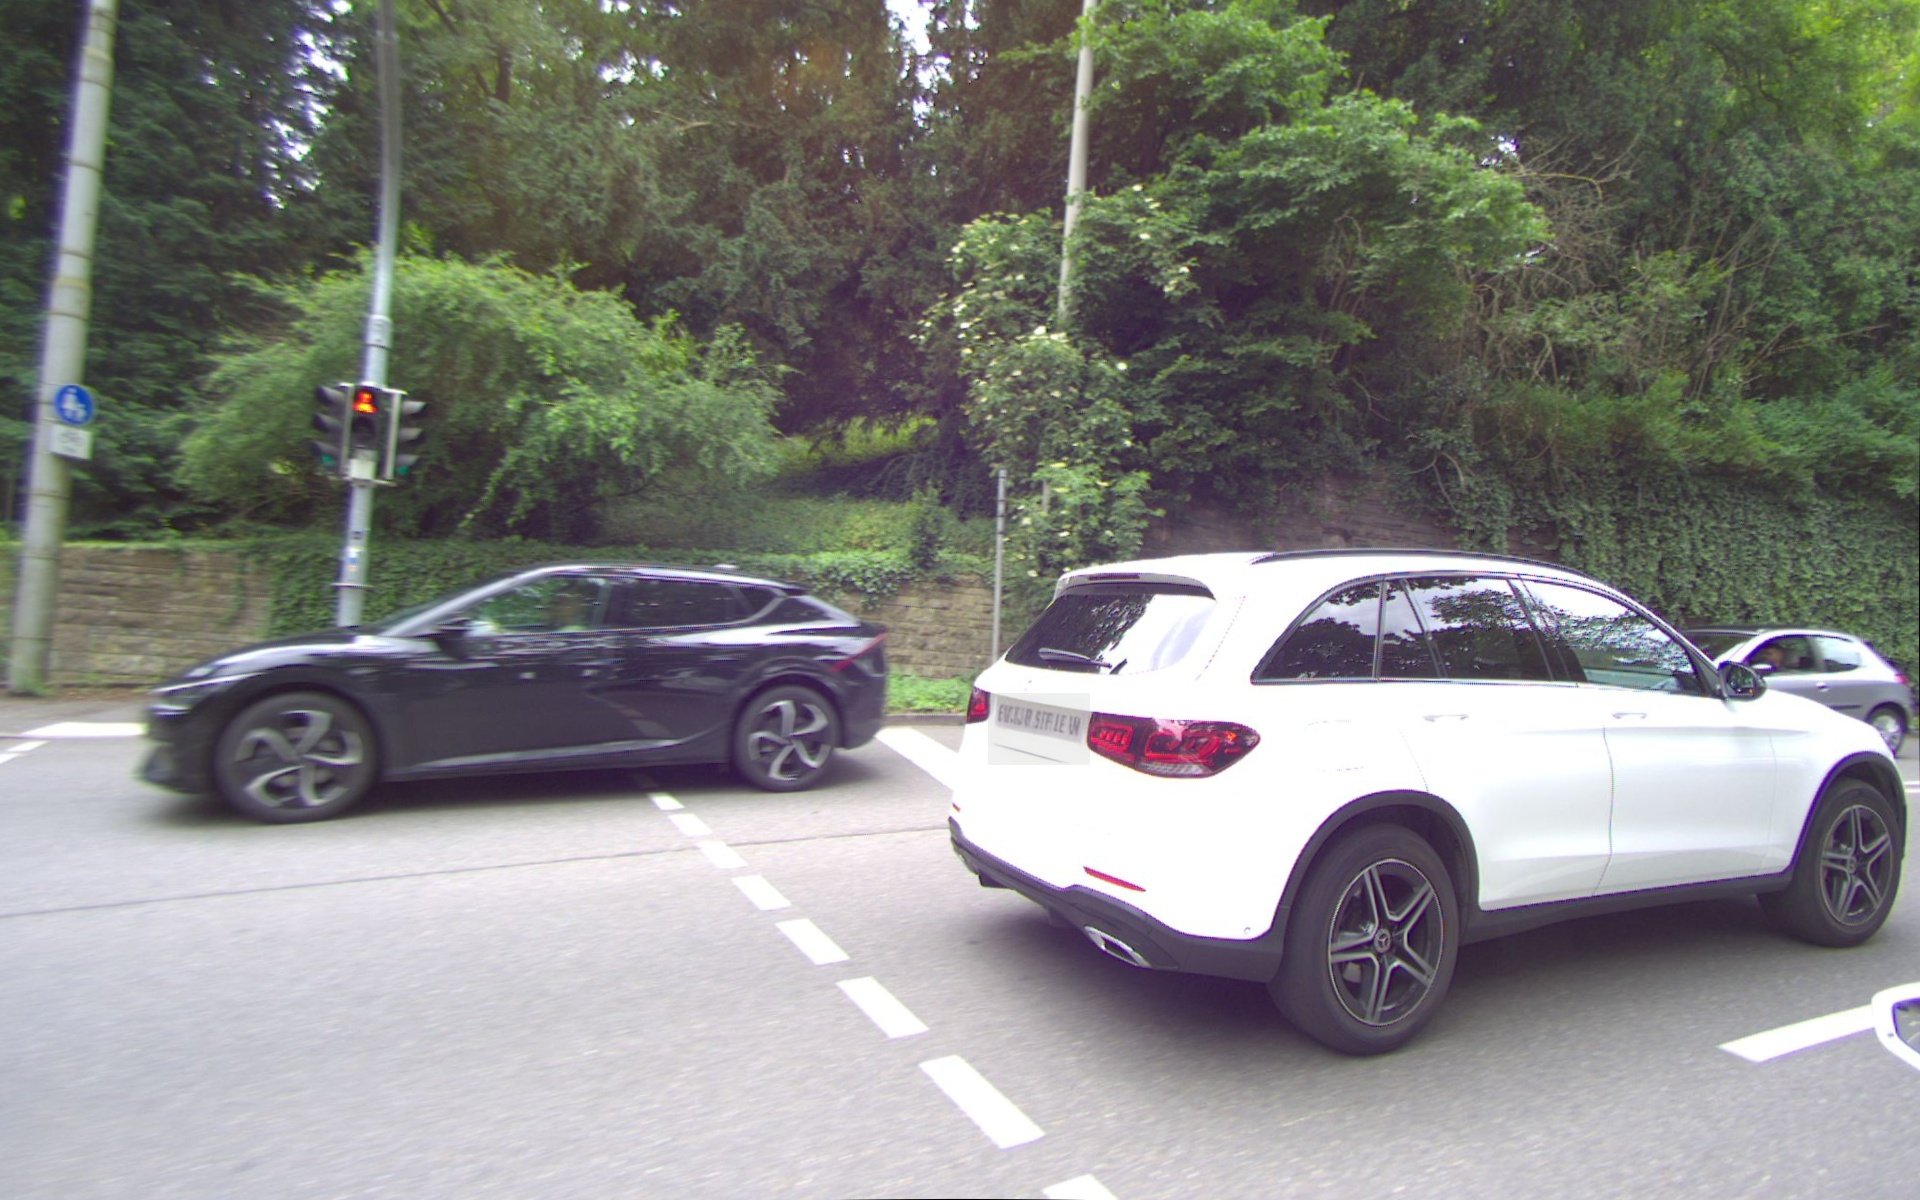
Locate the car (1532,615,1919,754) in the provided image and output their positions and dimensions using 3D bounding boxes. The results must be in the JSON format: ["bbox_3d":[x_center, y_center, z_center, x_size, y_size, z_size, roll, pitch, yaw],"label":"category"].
[{"bbox_3d":[8.848,0.946,11.610,3.687,1.437,1.609,2,-1,-10],"label":"car"}]

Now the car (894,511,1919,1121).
[{"bbox_3d":[2.197,0.639,4.529,4.609,1.627,1.853,2,0,-26],"label":"car"}]

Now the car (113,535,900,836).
[{"bbox_3d":[-2.739,0.504,6.875,4.338,1.563,1.626,2,0,-25],"label":"car"}]
